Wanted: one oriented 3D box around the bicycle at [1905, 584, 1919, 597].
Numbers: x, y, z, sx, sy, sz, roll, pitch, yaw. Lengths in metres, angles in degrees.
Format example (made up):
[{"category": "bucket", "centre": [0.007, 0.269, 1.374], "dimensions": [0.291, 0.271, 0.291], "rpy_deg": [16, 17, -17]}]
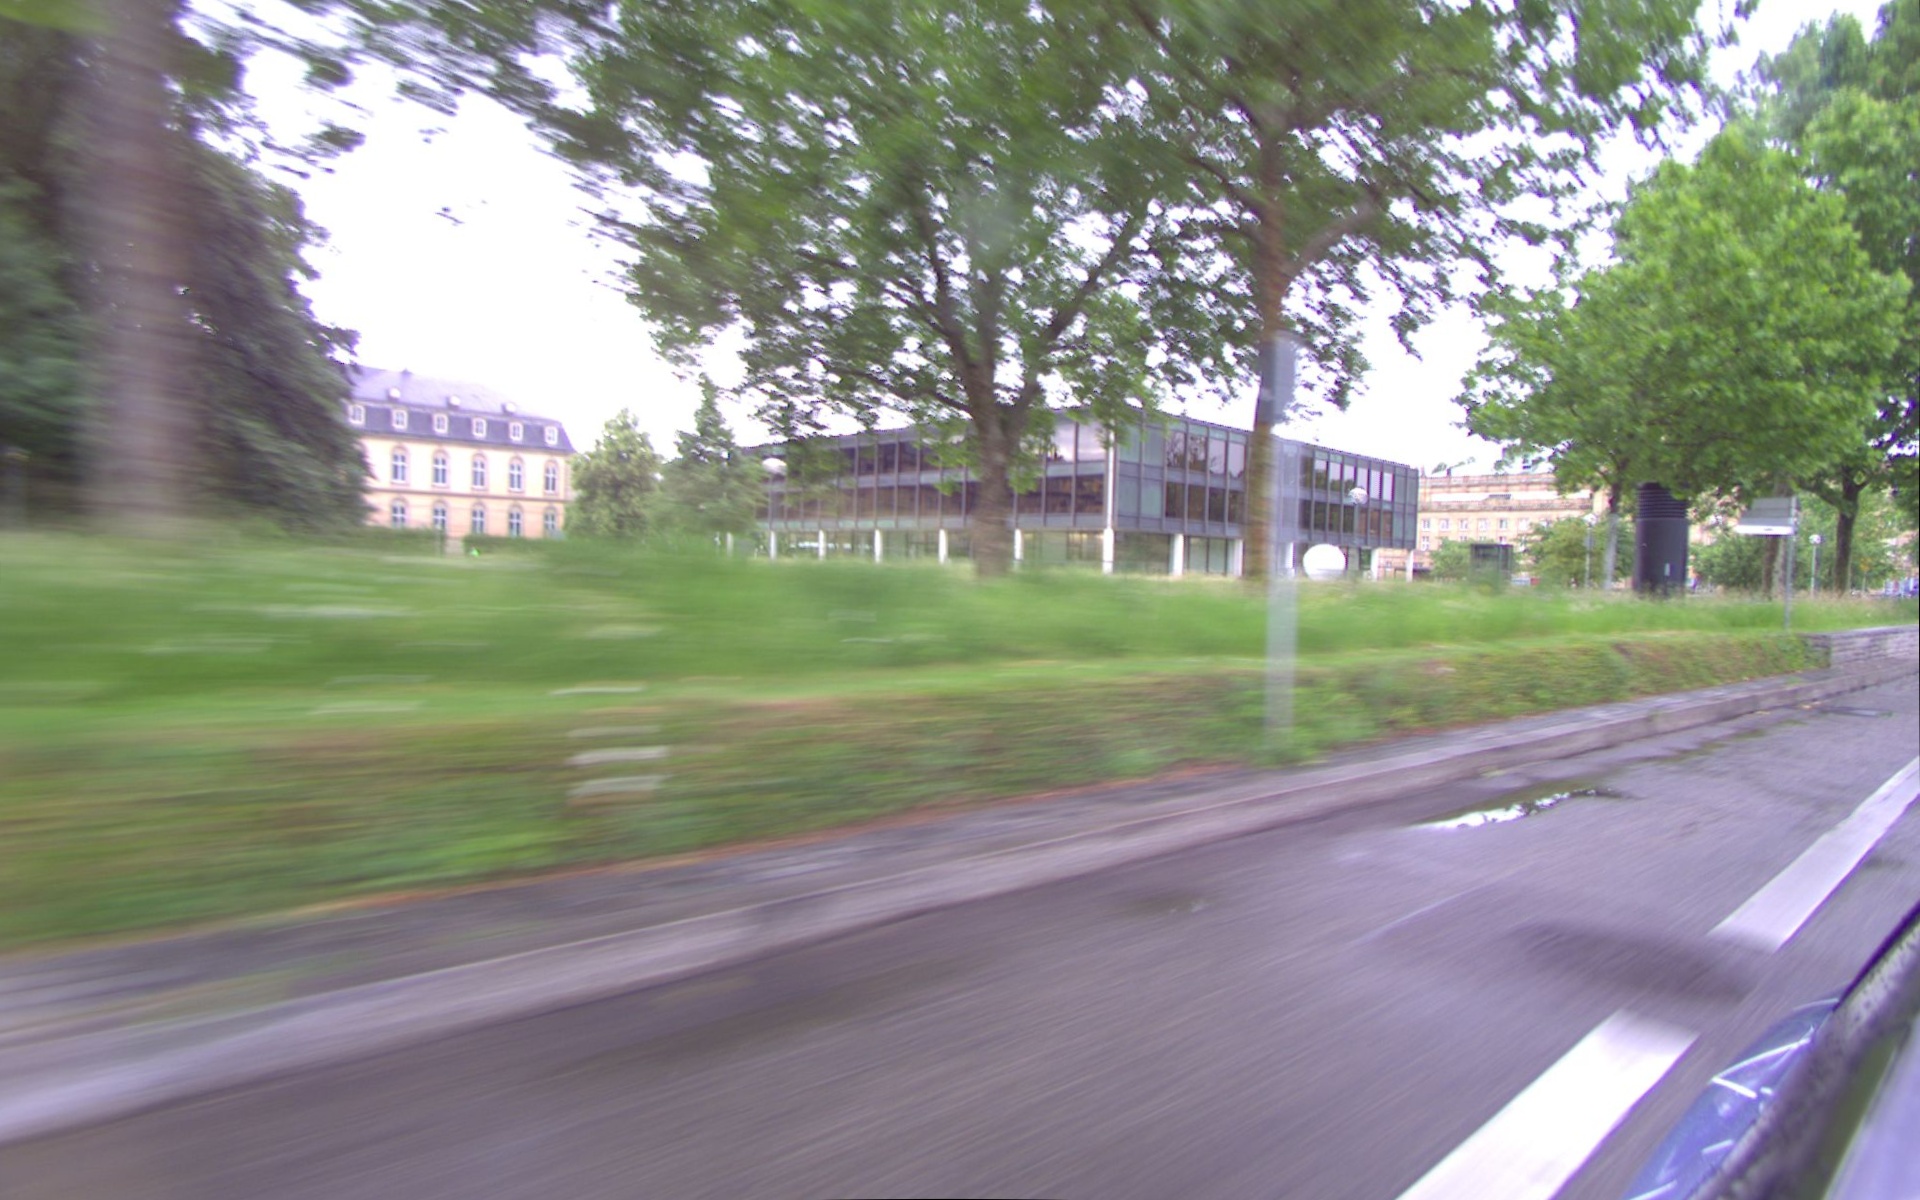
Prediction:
[{"category": "bicycle", "centre": [80.236, -0.779, 84.484], "dimensions": [1.741, 1.079, 0.820], "rpy_deg": [1, 1, 30]}]
